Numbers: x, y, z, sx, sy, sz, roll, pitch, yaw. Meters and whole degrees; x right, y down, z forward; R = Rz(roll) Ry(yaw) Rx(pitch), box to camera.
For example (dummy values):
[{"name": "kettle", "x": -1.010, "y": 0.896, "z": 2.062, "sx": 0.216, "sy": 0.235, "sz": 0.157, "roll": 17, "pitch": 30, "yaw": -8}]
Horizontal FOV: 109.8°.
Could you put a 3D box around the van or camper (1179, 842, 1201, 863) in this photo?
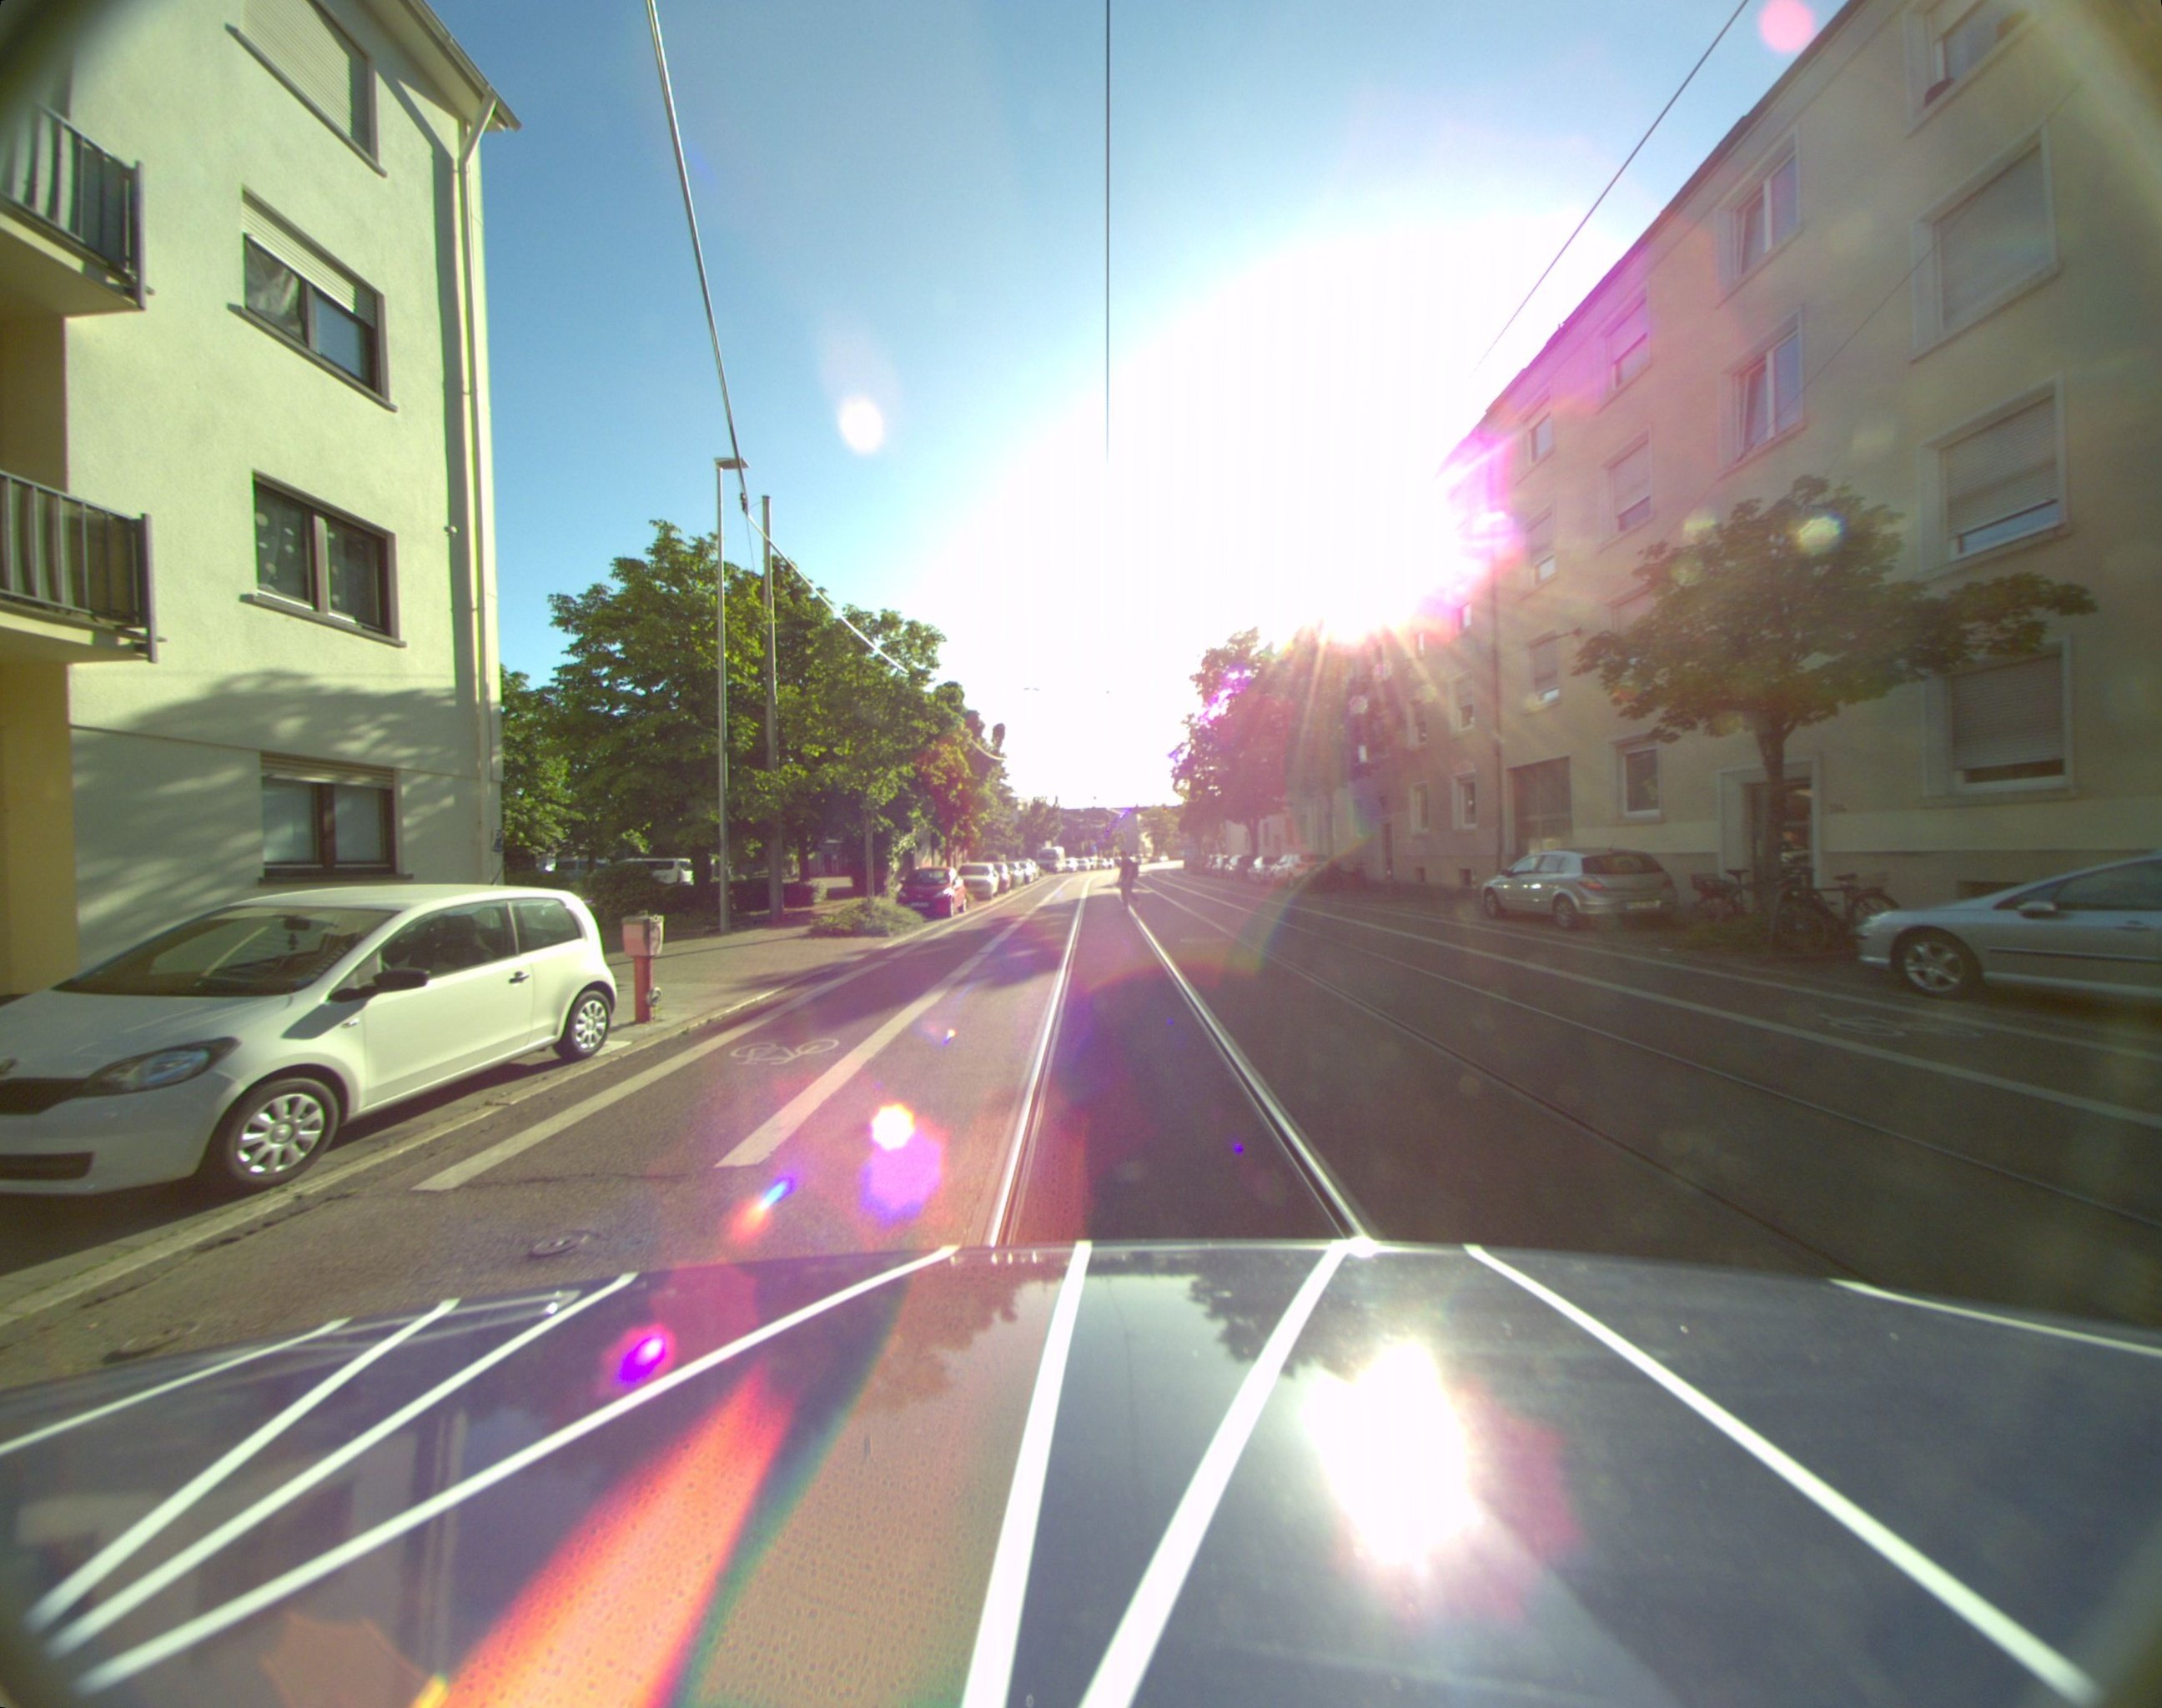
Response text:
[{"name": "van or camper", "x": 12.803, "y": -0.171, "z": 89.285, "sx": 2.074, "sy": 2.400, "sz": 5.500, "roll": -2, "pitch": 0, "yaw": 3}]

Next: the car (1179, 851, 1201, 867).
[{"name": "car", "x": 10.810, "y": 0.475, "z": 75.338, "sx": 1.666, "sy": 1.535, "sz": 3.410, "roll": -2, "pitch": 0, "yaw": 1}]

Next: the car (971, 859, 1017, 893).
[{"name": "car", "x": -4.379, "y": 1.077, "z": 38.815, "sx": 1.828, "sy": 1.562, "sz": 4.478, "roll": 0, "pitch": 0, "yaw": 0}]

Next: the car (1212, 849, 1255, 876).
[{"name": "car", "x": 9.419, "y": 0.526, "z": 47.276, "sx": 1.688, "sy": 1.542, "sz": 4.047, "roll": -2, "pitch": 0, "yaw": -2}]

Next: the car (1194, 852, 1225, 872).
[{"name": "car", "x": 10.248, "y": 0.608, "z": 60.905, "sx": 1.688, "sy": 1.542, "sz": 3.950, "roll": -2, "pitch": 0, "yaw": -2}]

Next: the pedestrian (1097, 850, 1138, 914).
[{"name": "pedestrian", "x": 1.066, "y": 0.795, "z": 22.113, "sx": 0.799, "sy": 1.800, "sz": 0.947, "roll": 0, "pitch": 1, "yaw": 34}]

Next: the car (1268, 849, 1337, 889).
[{"name": "car", "x": 9.667, "y": 0.633, "z": 33.447, "sx": 1.688, "sy": 1.614, "sz": 4.047, "roll": -2, "pitch": 0, "yaw": -2}]

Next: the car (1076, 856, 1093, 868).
[{"name": "car", "x": 0.405, "y": 0.895, "z": 88.955, "sx": 1.726, "sy": 1.403, "sz": 3.888, "roll": 0, "pitch": 0, "yaw": 3}]

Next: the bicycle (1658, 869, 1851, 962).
[{"name": "bicycle", "x": 9.425, "y": 0.836, "z": 10.669, "sx": 2.149, "sy": 1.136, "sz": 0.659, "roll": -3, "pitch": 1, "yaw": -3}]

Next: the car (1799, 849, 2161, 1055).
[{"name": "car", "x": 8.830, "y": 0.721, "z": 5.918, "sx": 1.770, "sy": 1.464, "sz": 4.857, "roll": -2, "pitch": 0, "yaw": -1}]

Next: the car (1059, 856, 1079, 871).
[{"name": "car", "x": -1.269, "y": 0.957, "z": 80.391, "sx": 1.828, "sy": 1.562, "sz": 4.266, "roll": 0, "pitch": 0, "yaw": 3}]

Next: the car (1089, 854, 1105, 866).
[{"name": "car", "x": 2.163, "y": 0.812, "z": 100.543, "sx": 1.828, "sy": 1.562, "sz": 4.267, "roll": 0, "pitch": 0, "yaw": 5}]

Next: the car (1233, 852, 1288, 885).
[{"name": "car", "x": 9.121, "y": 0.716, "z": 38.923, "sx": 1.688, "sy": 1.542, "sz": 4.047, "roll": -2, "pitch": 0, "yaw": -2}]

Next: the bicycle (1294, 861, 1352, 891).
[{"name": "bicycle", "x": 9.652, "y": 0.873, "z": 30.354, "sx": 2.149, "sy": 1.136, "sz": 0.535, "roll": -2, "pitch": 1, "yaw": -3}]

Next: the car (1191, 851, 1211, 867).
[{"name": "car", "x": 12.734, "y": 0.514, "z": 80.772, "sx": 1.666, "sy": 1.535, "sz": 3.410, "roll": -2, "pitch": 0, "yaw": 1}]

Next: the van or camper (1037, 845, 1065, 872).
[{"name": "van or camper", "x": -2.912, "y": 0.391, "z": 74.693, "sx": 2.090, "sy": 2.548, "sz": 5.694, "roll": -2, "pitch": 1, "yaw": 3}]

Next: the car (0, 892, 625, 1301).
[{"name": "car", "x": -4.922, "y": 1.111, "z": 5.021, "sx": 1.557, "sy": 1.533, "sz": 3.632, "roll": 0, "pitch": 0, "yaw": 2}]

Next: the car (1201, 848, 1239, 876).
[{"name": "car", "x": 9.398, "y": 0.552, "z": 51.719, "sx": 1.688, "sy": 1.776, "sz": 4.047, "roll": -2, "pitch": 0, "yaw": -2}]

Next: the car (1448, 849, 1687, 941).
[{"name": "car", "x": 9.243, "y": 0.665, "z": 15.015, "sx": 1.769, "sy": 1.464, "sz": 4.752, "roll": -2, "pitch": 1, "yaw": 2}]

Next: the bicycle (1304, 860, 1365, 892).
[{"name": "bicycle", "x": 9.805, "y": 0.854, "z": 29.396, "sx": 2.149, "sy": 1.136, "sz": 0.530, "roll": -2, "pitch": 1, "yaw": -3}]

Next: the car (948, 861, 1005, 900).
[{"name": "car", "x": -4.518, "y": 1.096, "z": 33.444, "sx": 1.828, "sy": 1.562, "sz": 4.478, "roll": 0, "pitch": 0, "yaw": 0}]

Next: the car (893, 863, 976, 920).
[{"name": "car", "x": -4.471, "y": 1.091, "z": 23.789, "sx": 1.612, "sy": 1.562, "sz": 4.478, "roll": 0, "pitch": 0, "yaw": 2}]

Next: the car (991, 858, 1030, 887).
[{"name": "car", "x": -4.078, "y": 1.043, "z": 44.362, "sx": 1.828, "sy": 1.562, "sz": 4.478, "roll": 0, "pitch": 0, "yaw": 0}]
